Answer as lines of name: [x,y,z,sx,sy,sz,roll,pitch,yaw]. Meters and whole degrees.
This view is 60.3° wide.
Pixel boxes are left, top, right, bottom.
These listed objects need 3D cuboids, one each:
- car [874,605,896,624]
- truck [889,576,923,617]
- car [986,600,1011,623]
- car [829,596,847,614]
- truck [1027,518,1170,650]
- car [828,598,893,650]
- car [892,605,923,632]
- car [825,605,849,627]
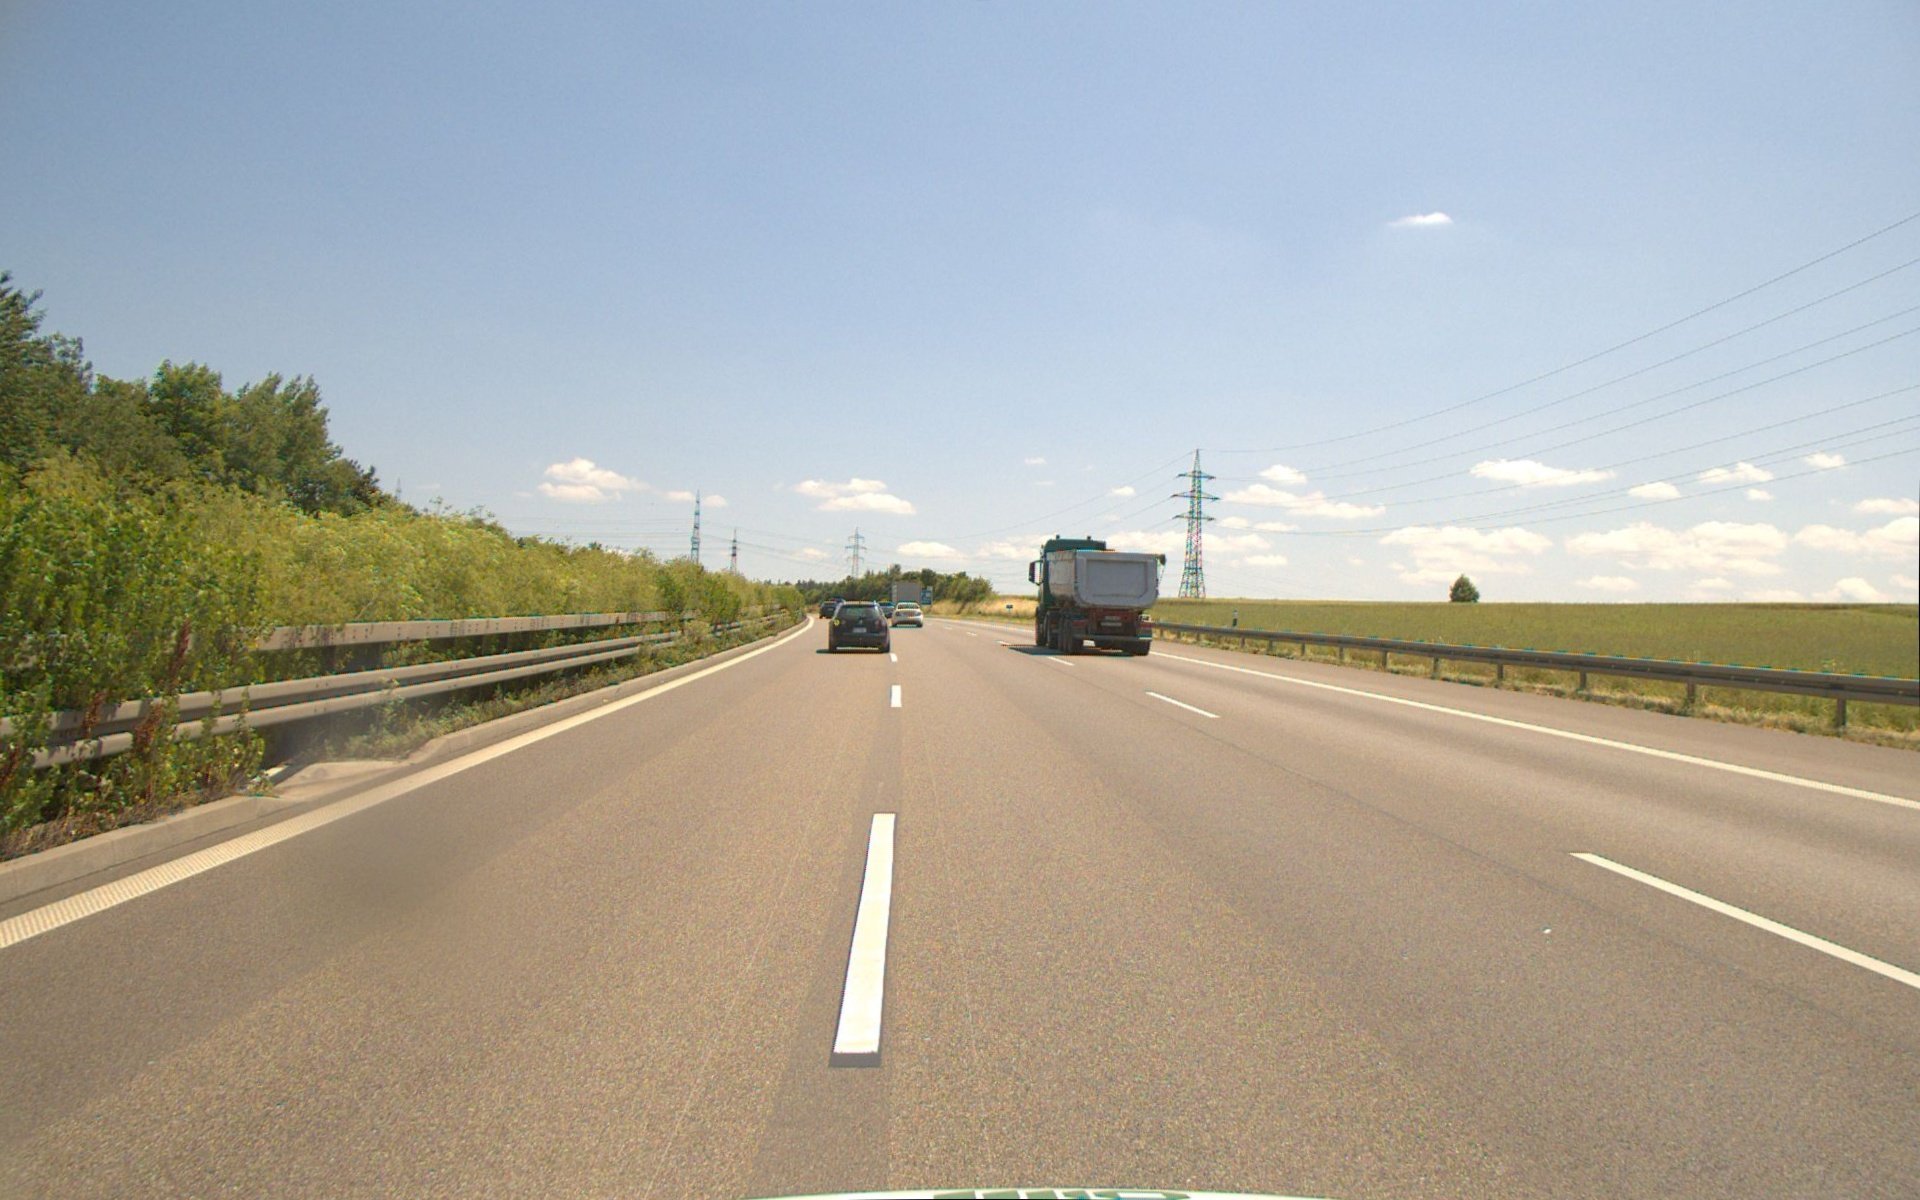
car: [-6.297,1.208,138.390,1.802,1.568,3.911,0,0,-4]
truck: [-5.578,-0.277,168.836,3.157,3.993,9.054,1,-1,-3]
car: [3.262,0.947,140.132,1.953,1.885,3.999,0,0,-1]
car: [-12.987,0.524,175.760,1.865,1.959,3.995,0,0,-6]
truck: [4.275,-0.436,54.381,2.808,3.789,12.752,0,0,-4]
car: [-2.871,0.683,48.399,1.721,1.454,3.999,0,0,-1]
car: [-3.103,1.078,98.033,1.783,1.568,3.913,0,0,-1]
car: [-10.623,1.384,142.559,1.955,1.892,3.995,1,0,-5]
